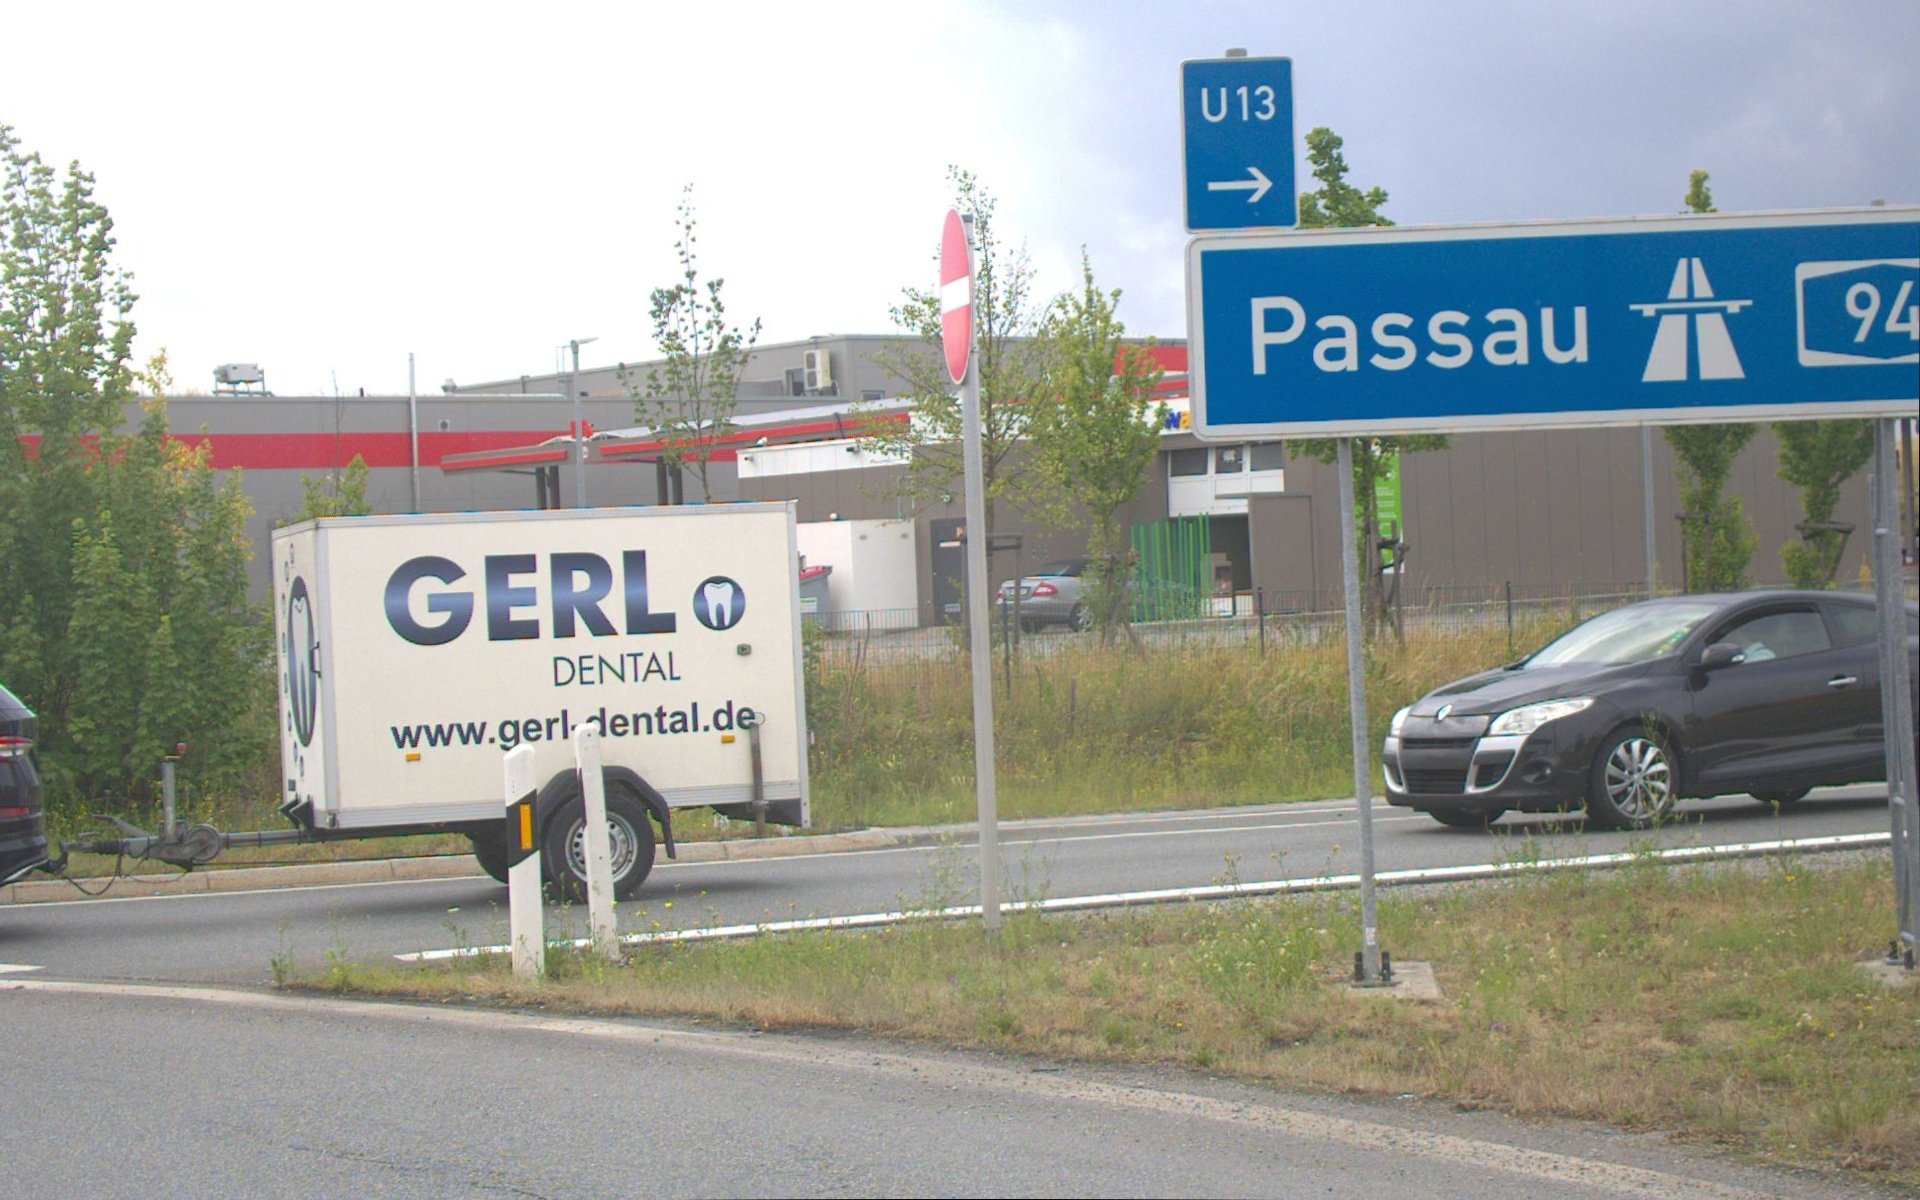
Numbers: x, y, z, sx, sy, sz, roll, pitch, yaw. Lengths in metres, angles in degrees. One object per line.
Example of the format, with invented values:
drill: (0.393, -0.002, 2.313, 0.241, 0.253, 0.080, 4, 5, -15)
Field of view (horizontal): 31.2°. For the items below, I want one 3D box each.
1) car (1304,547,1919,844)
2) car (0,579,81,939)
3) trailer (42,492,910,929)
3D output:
car: (4.674, 0.553, 21.637, 4.576, 1.678, 2.000, -1, -1, -26)
car: (-6.885, 0.886, 17.283, 4.666, 1.754, 2.000, -2, -1, -16)
trailer: (-2.674, 0.509, 18.900, 4.356, 2.177, 2.001, -1, 1, -22)
